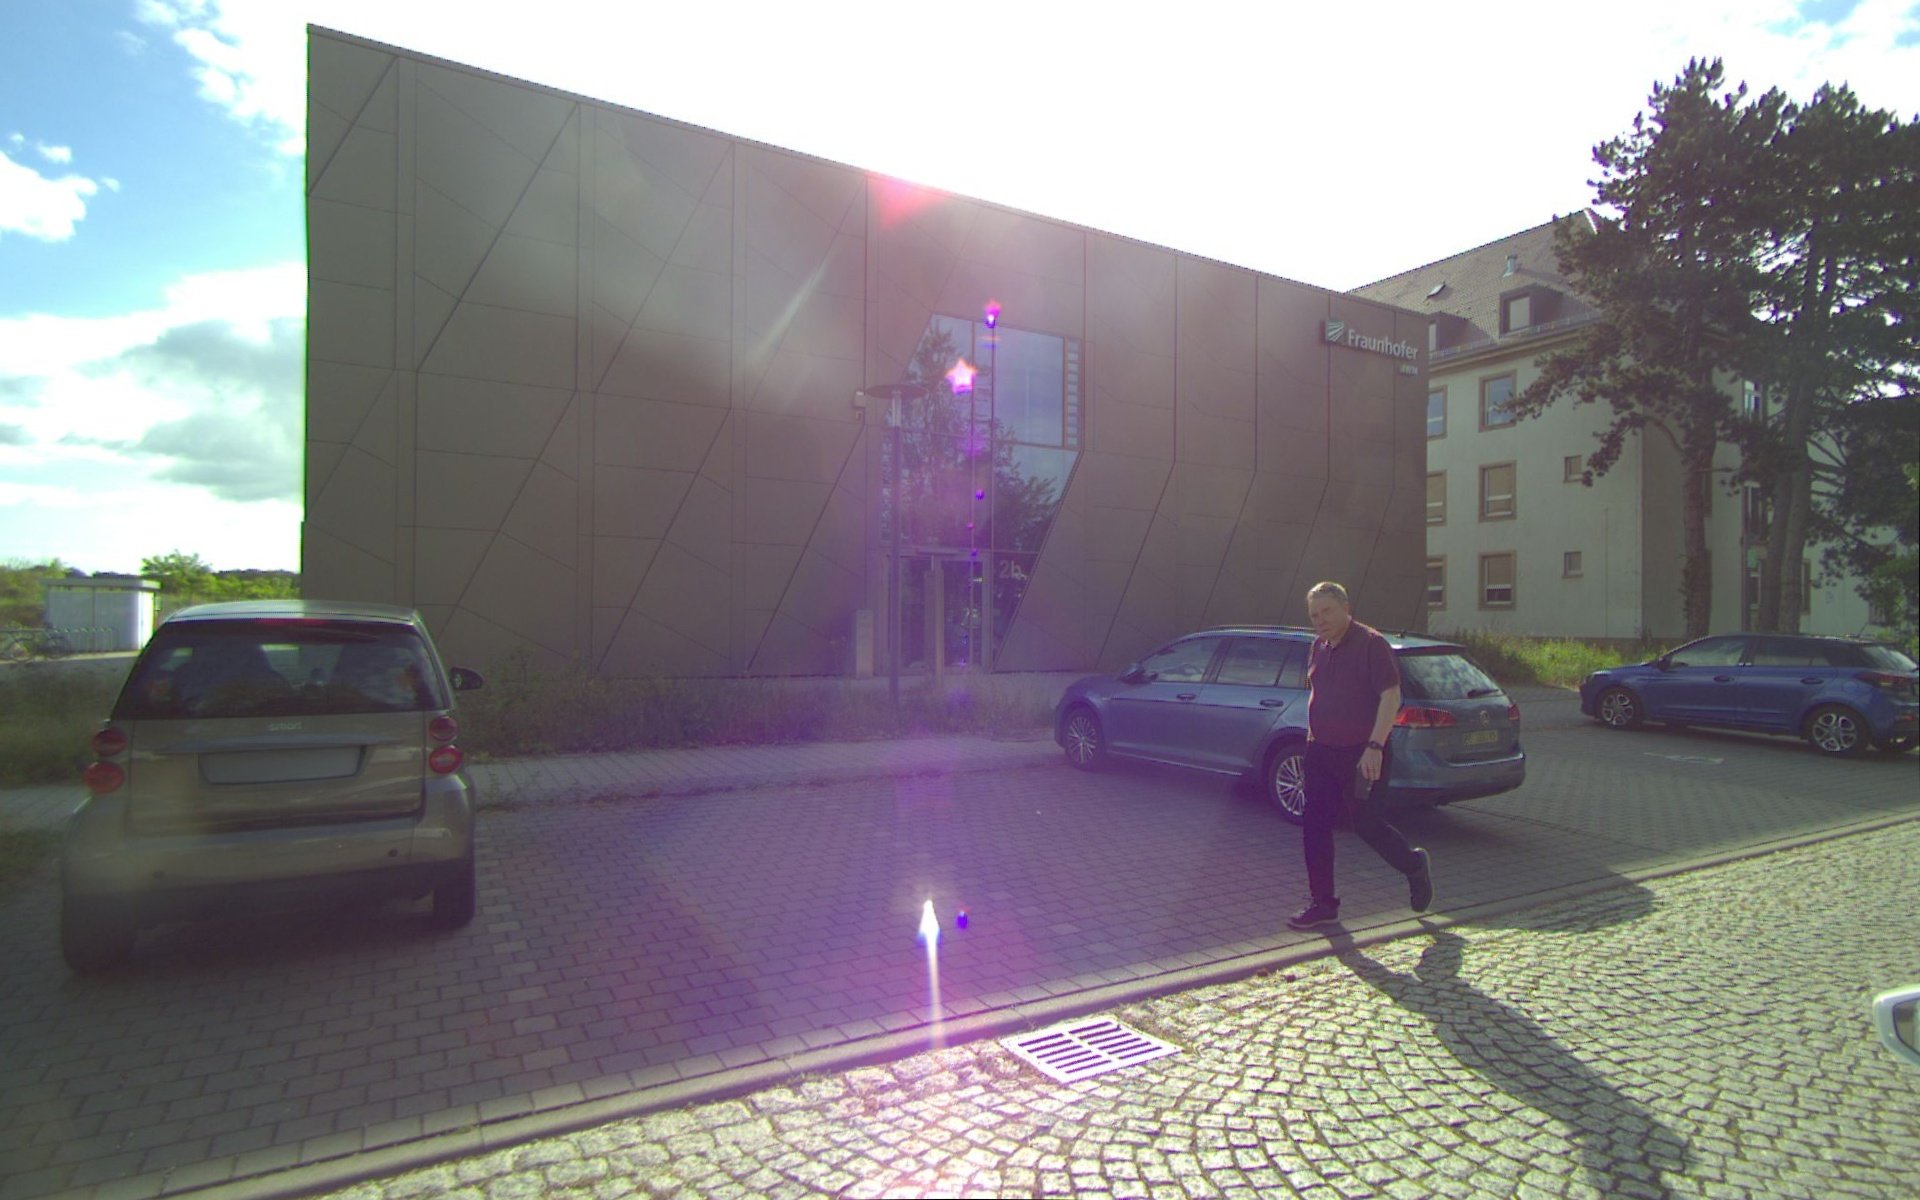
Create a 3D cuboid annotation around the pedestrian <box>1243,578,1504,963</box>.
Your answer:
[{"bbox_3d":[2.206,0.813,5.359,1.141,1.795,0.799,1,-1,-34],"label":"pedestrian"}]

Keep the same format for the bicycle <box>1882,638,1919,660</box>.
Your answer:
[{"bbox_3d":[46.999,2.452,50.158,2.099,1.061,0.822,1,-1,-30],"label":"bicycle"}]

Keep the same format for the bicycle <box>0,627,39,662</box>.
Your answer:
[{"bbox_3d":[-25.715,1.212,26.962,1.339,0.911,0.515,-1,0,-27],"label":"bicycle"}]

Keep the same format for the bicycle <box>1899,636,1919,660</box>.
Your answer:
[{"bbox_3d":[46.633,2.304,48.265,0.819,1.123,2.105,1,-2,-32],"label":"bicycle"}]

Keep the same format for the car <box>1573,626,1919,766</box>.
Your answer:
[{"bbox_3d":[10.815,1.177,13.739,1.698,1.483,3.820,1,0,-28],"label":"car"}]

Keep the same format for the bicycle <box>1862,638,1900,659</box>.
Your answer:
[{"bbox_3d":[46.587,2.445,50.820,2.099,1.061,0.822,1,-1,-30],"label":"bicycle"}]

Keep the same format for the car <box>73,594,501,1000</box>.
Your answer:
[{"bbox_3d":[-3.470,0.782,5.473,1.501,1.563,2.686,1,0,-30],"label":"car"}]

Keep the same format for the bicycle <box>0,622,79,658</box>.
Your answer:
[{"bbox_3d":[-26.765,1.155,28.894,1.942,0.982,0.837,-1,0,-27],"label":"bicycle"}]

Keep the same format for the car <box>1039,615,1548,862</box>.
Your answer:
[{"bbox_3d":[2.616,0.958,8.925,1.662,1.484,4.233,-1,1,-31],"label":"car"}]

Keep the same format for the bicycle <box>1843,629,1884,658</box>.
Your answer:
[{"bbox_3d":[46.499,2.235,51.683,2.524,1.456,0.822,1,-1,-30],"label":"bicycle"}]

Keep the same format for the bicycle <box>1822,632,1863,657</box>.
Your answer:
[{"bbox_3d":[45.869,2.315,52.208,2.524,1.298,0.822,1,-1,-30],"label":"bicycle"}]
